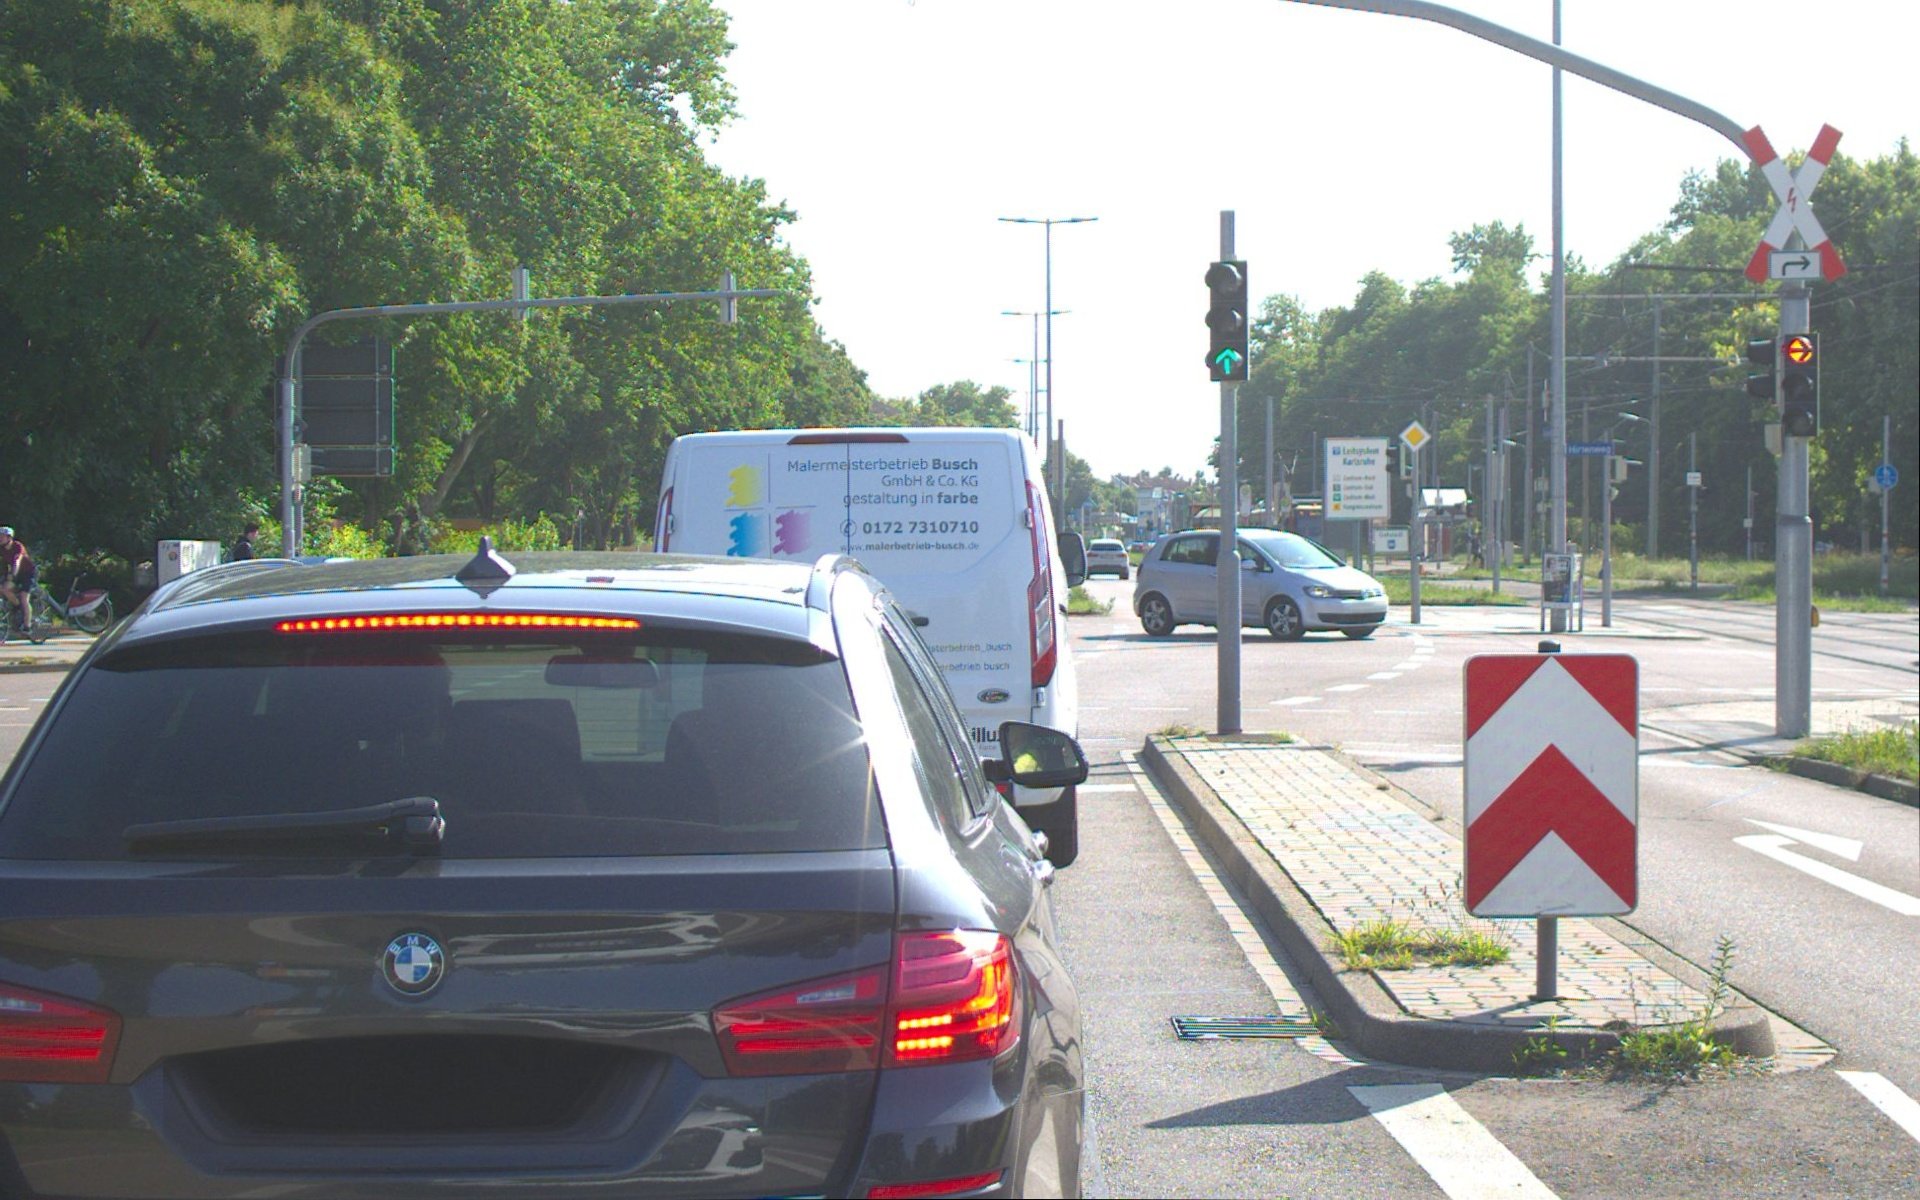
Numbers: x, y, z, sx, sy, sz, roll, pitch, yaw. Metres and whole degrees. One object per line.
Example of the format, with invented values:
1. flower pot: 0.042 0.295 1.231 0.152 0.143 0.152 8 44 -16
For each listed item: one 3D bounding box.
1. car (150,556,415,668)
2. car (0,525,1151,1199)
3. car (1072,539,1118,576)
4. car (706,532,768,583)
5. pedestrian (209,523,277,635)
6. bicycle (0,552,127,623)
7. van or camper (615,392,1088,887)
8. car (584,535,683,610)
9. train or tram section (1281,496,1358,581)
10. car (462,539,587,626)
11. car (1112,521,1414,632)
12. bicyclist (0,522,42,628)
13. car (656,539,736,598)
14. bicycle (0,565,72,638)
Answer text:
1. car: -9.138 0.125 46.730 1.781 1.410 4.241 0 1 16
2. car: -0.723 0.615 6.450 1.903 1.500 4.065 0 1 0
3. car: 5.509 -1.748 140.741 1.793 1.481 3.900 0 1 1
4. car: -6.833 -1.330 105.658 1.788 1.515 4.001 -1 1 -2
5. pedestrian: -11.340 -0.341 54.416 0.816 1.746 0.931 0 1 5
6. bicycle: -14.271 -0.197 54.656 1.909 1.115 0.632 0 1 0
7. van or camper: -0.421 0.123 16.806 1.993 2.089 4.598 0 1 1
8. car: -7.223 -0.628 76.295 1.745 1.556 4.000 -2 1 0
9. train or tram section: 16.086 -2.698 154.539 2.796 3.606 12.954 1 1 3
10. car: -7.848 -0.337 62.316 1.702 1.460 4.370 -2 1 0
11. car: 4.400 -0.371 50.388 4.201 1.557 1.851 1 2 45
12. bicyclist: -13.975 -0.376 50.672 0.608 1.555 0.602 0 1 19
13. car: -6.840 -0.839 89.363 1.888 1.469 4.100 -1 1 -2
14. bicycle: -13.967 0.012 50.699 0.620 1.037 2.070 0 1 20
